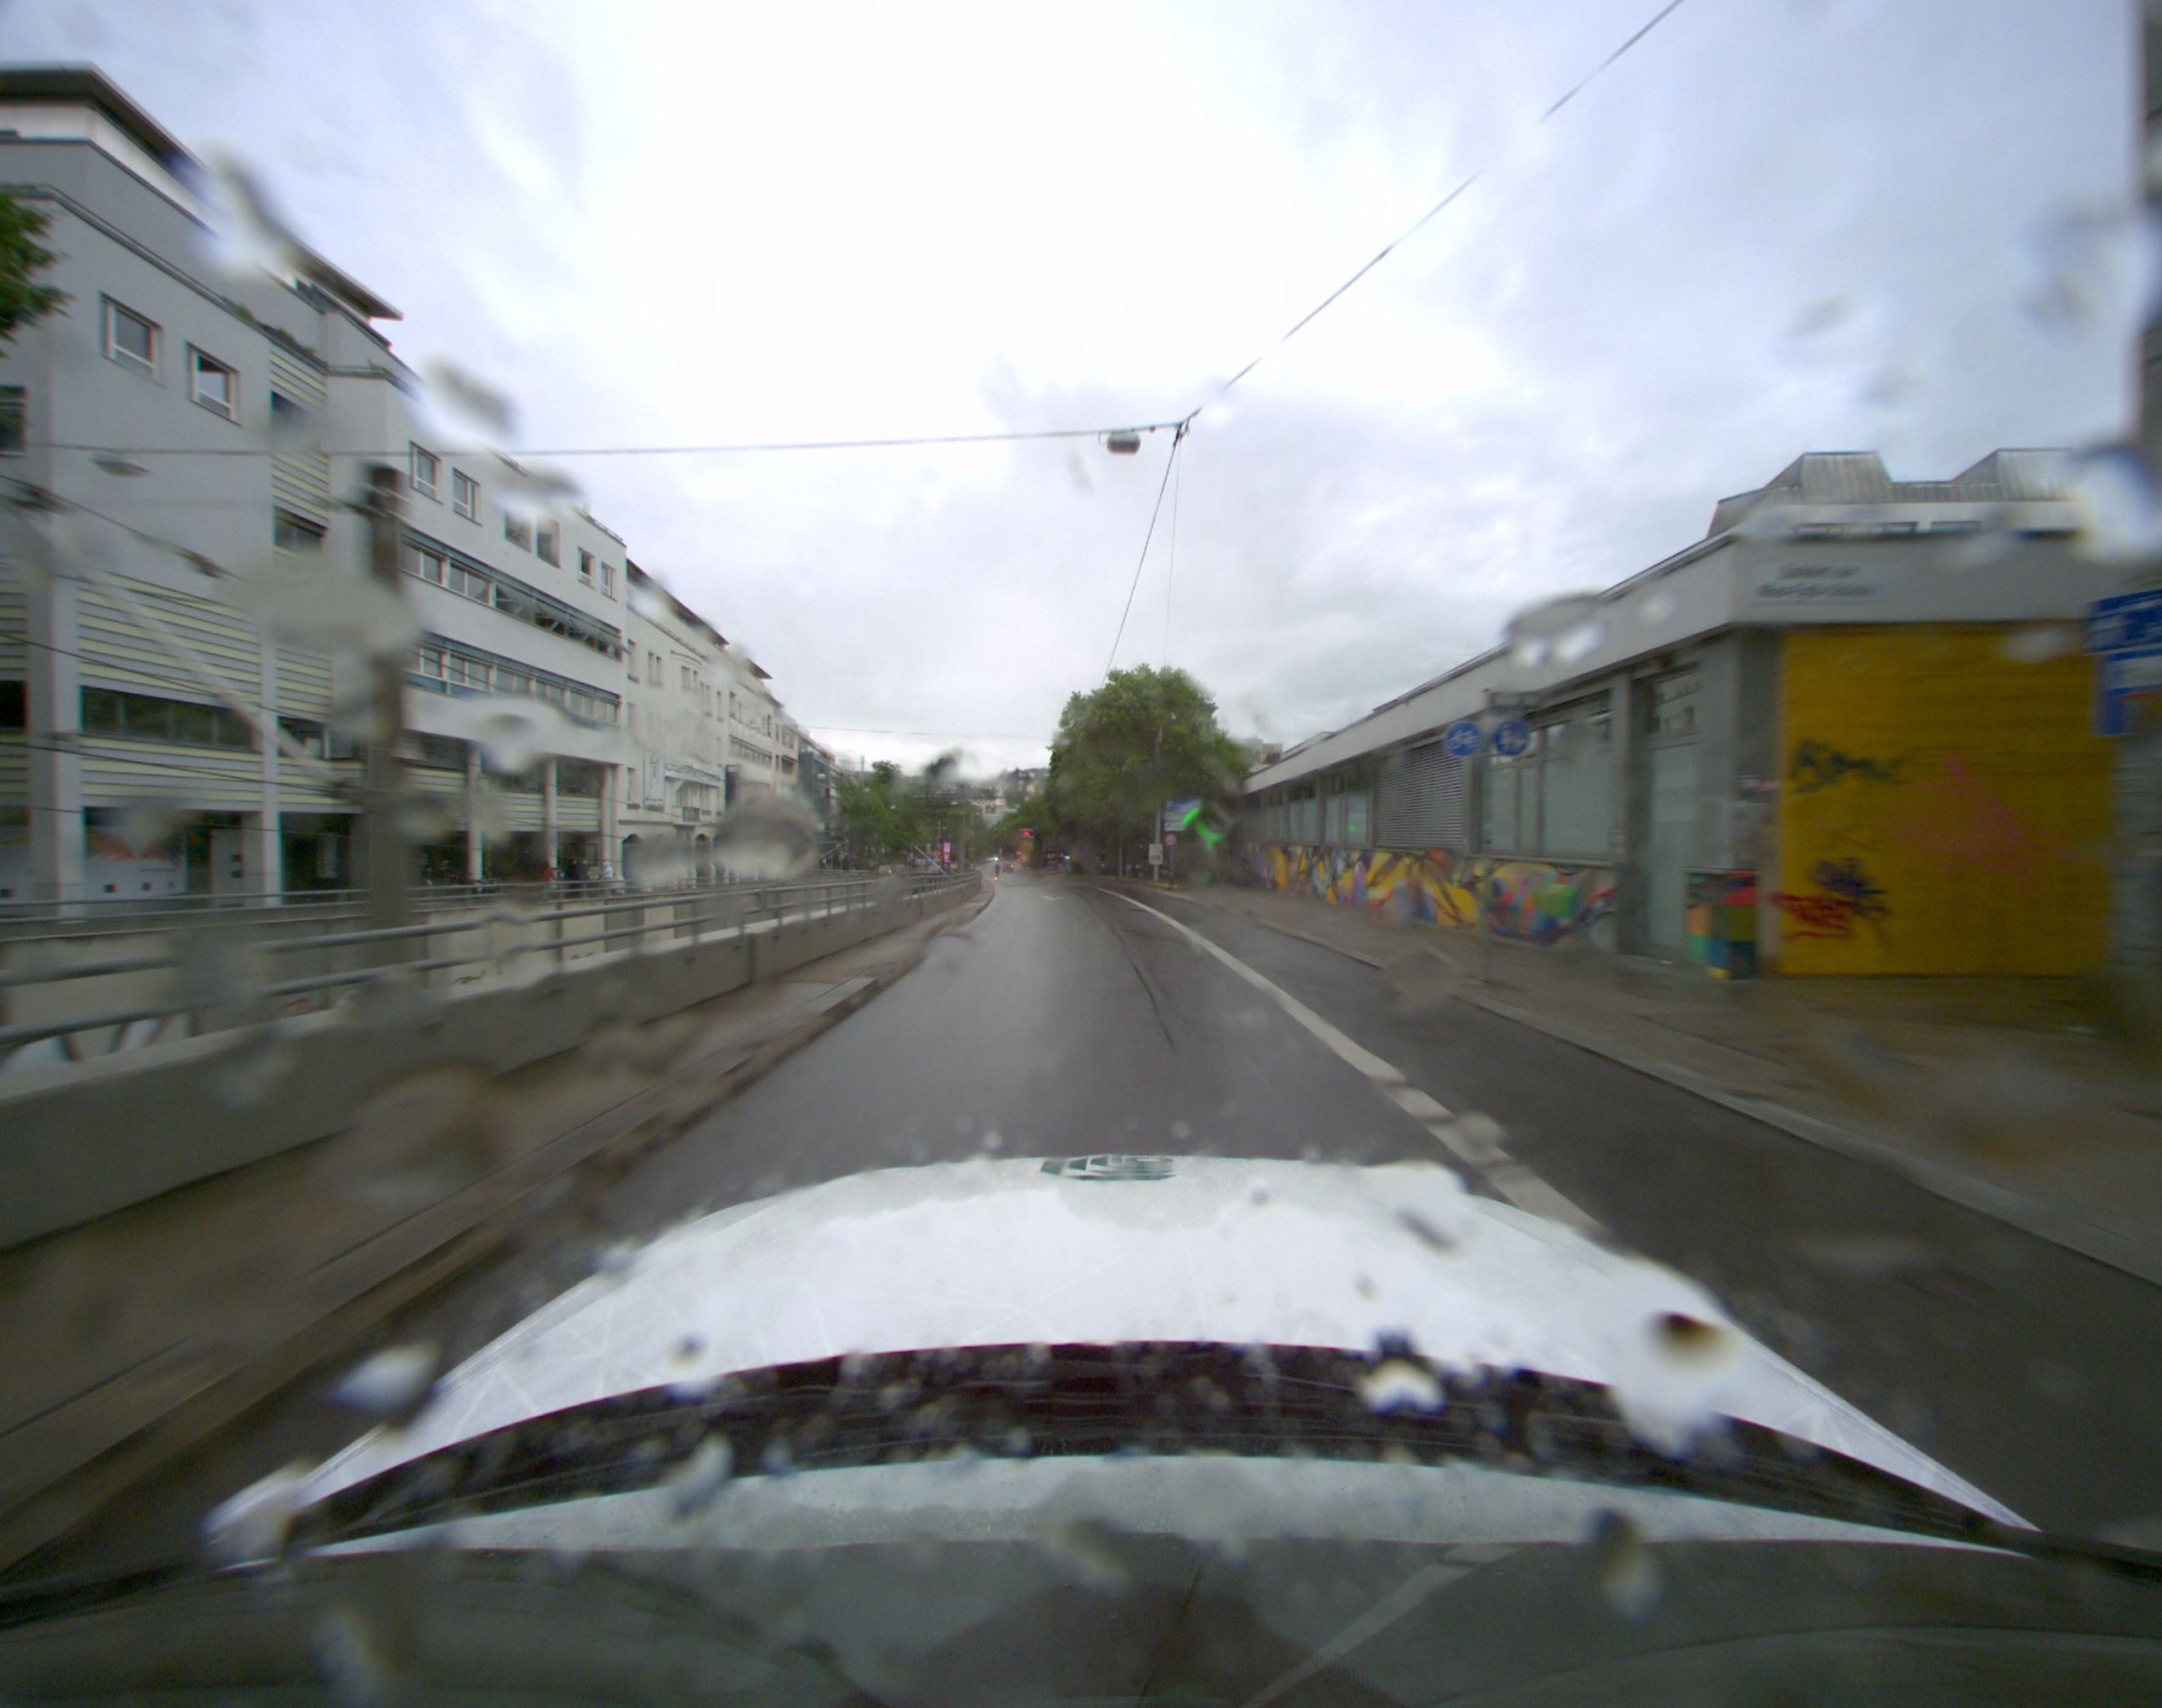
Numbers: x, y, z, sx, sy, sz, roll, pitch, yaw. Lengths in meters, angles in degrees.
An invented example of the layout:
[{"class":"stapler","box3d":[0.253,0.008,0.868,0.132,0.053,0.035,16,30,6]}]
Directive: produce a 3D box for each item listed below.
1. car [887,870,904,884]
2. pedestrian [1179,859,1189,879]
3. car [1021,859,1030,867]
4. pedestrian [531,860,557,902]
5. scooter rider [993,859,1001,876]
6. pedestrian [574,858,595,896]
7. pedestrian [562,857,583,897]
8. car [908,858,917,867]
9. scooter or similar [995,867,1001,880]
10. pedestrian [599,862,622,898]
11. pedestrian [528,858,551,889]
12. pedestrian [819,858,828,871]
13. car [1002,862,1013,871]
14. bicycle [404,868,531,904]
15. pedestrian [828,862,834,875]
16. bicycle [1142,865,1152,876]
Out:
[{"class":"car","box3d":[-25.911,3.235,113.878,1.834,1.712,4.567,0,1,-6]},{"class":"pedestrian","box3d":[9.611,1.392,76.195,0.804,1.864,1.056,-1,-1,1]},{"class":"car","box3d":[-11.984,1.889,177.169,1.898,1.684,3.905,1,-1,-4]},{"class":"pedestrian","box3d":[-21.190,1.061,32.167,0.674,1.616,0.935,0,0,-23]},{"class":"scooter rider","box3d":[-9.547,1.552,92.682,0.808,1.948,0.819,1,-1,-10]},{"class":"pedestrian","box3d":[-23.070,1.045,37.813,0.601,1.722,0.678,0,-1,42]},{"class":"pedestrian","box3d":[-22.754,1.012,36.460,0.674,1.785,0.935,0,0,-23]},{"class":"car","box3d":[-35.847,1.796,173.117,1.780,1.555,3.882,1,1,-9]},{"class":"scooter or similar","box3d":[-9.423,2.179,92.689,0.546,1.418,1.949,1,-1,-9]},{"class":"pedestrian","box3d":[-21.697,1.197,37.548,0.785,1.643,0.678,0,-1,38]},{"class":"pedestrian","box3d":[-25.124,0.882,37.793,0.606,1.419,0.673,0,0,-4]},{"class":"pedestrian","box3d":[-36.000,1.473,113.834,0.858,1.868,0.962,0,-1,10]},{"class":"car","box3d":[-12.493,2.172,138.640,1.745,1.519,4.094,1,-1,-8]},{"class":"bicycle","box3d":[-23.780,1.215,31.815,1.689,1.043,4.516,3,1,-4]},{"class":"pedestrian","box3d":[-34.106,1.977,111.148,0.664,1.671,0.486,0,-1,-9]},{"class":"bicycle","box3d":[6.810,1.727,84.597,0.804,1.112,2.197,-1,-1,-1]}]
